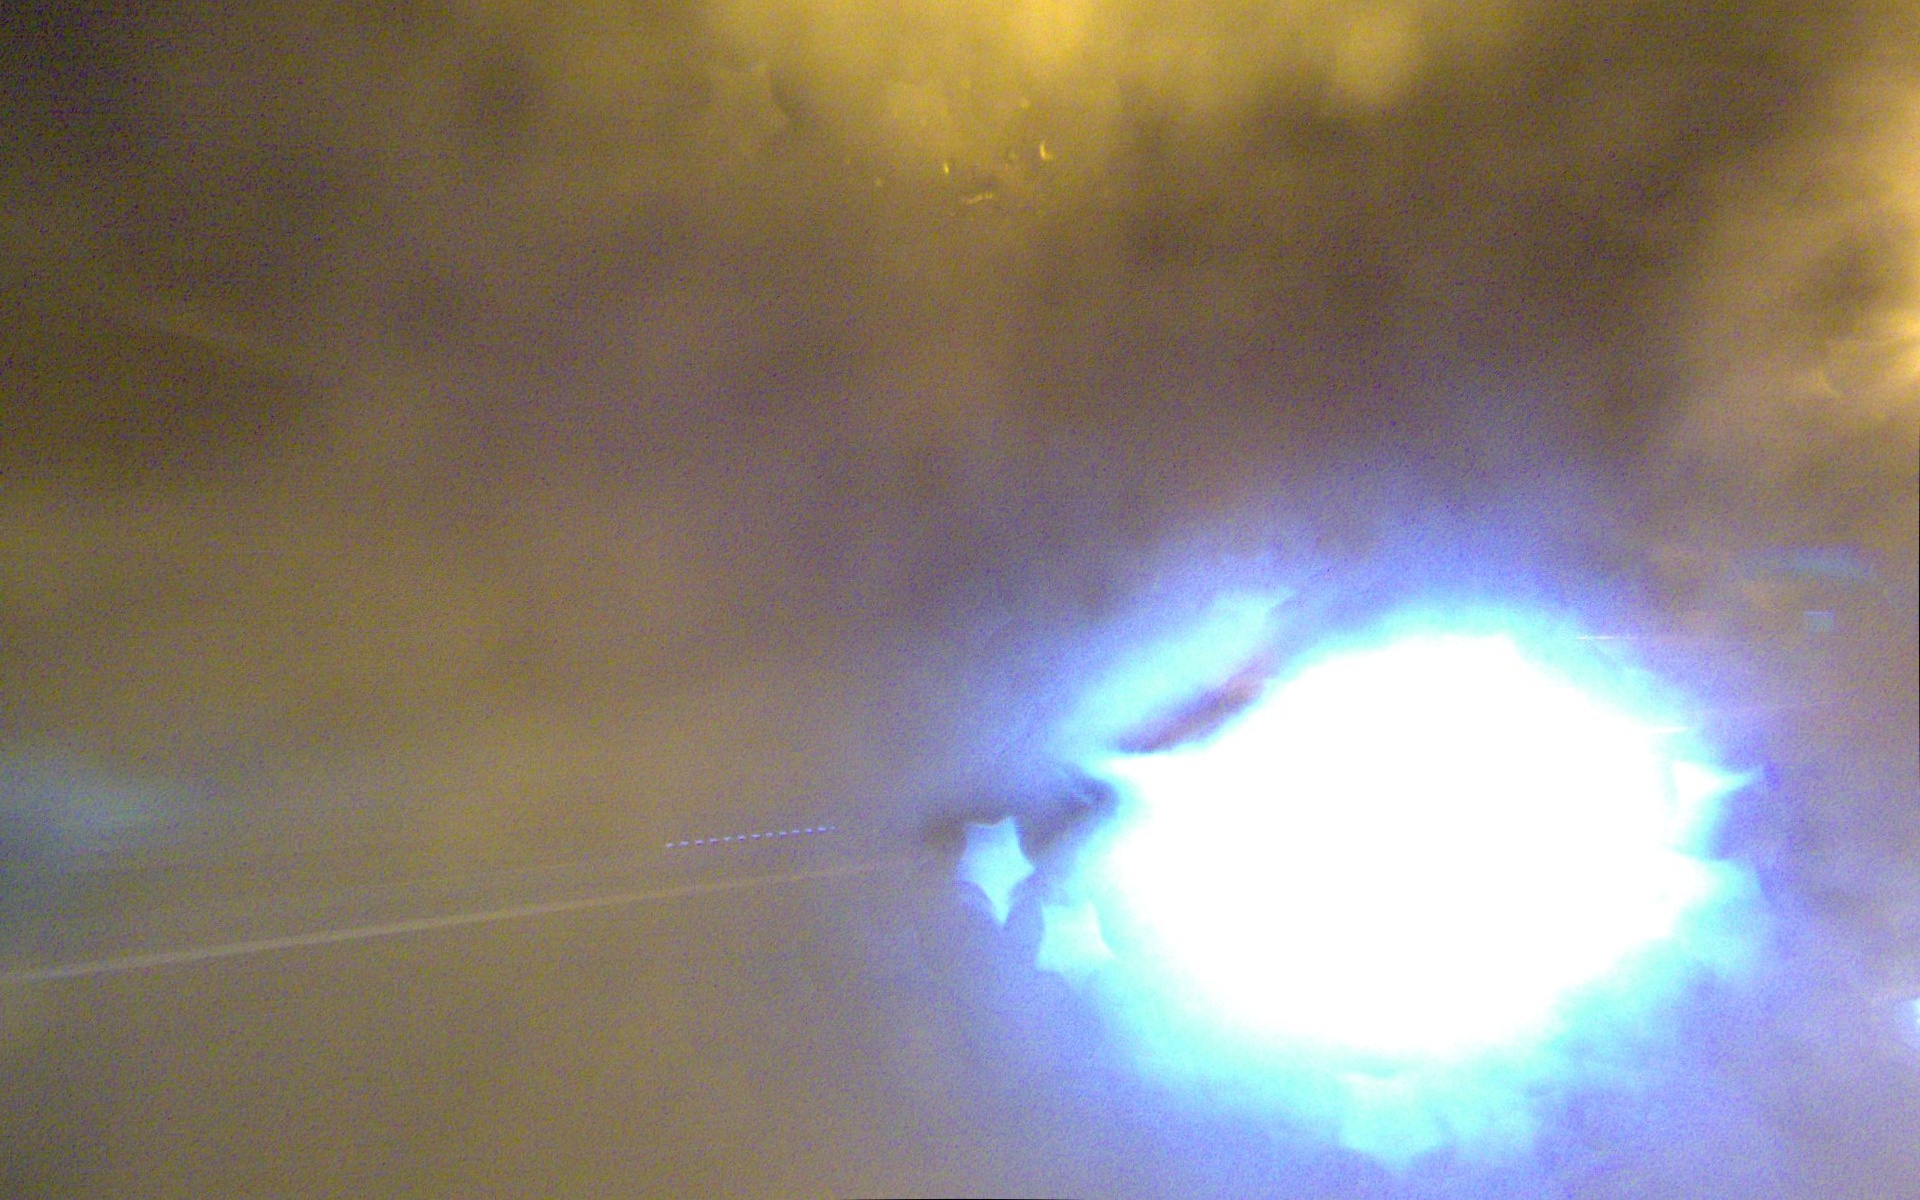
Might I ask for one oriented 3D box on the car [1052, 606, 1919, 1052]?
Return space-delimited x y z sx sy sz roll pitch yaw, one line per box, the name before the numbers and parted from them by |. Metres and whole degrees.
car | 2.890 0.786 5.180 4.590 1.402 1.826 1 1 -29
